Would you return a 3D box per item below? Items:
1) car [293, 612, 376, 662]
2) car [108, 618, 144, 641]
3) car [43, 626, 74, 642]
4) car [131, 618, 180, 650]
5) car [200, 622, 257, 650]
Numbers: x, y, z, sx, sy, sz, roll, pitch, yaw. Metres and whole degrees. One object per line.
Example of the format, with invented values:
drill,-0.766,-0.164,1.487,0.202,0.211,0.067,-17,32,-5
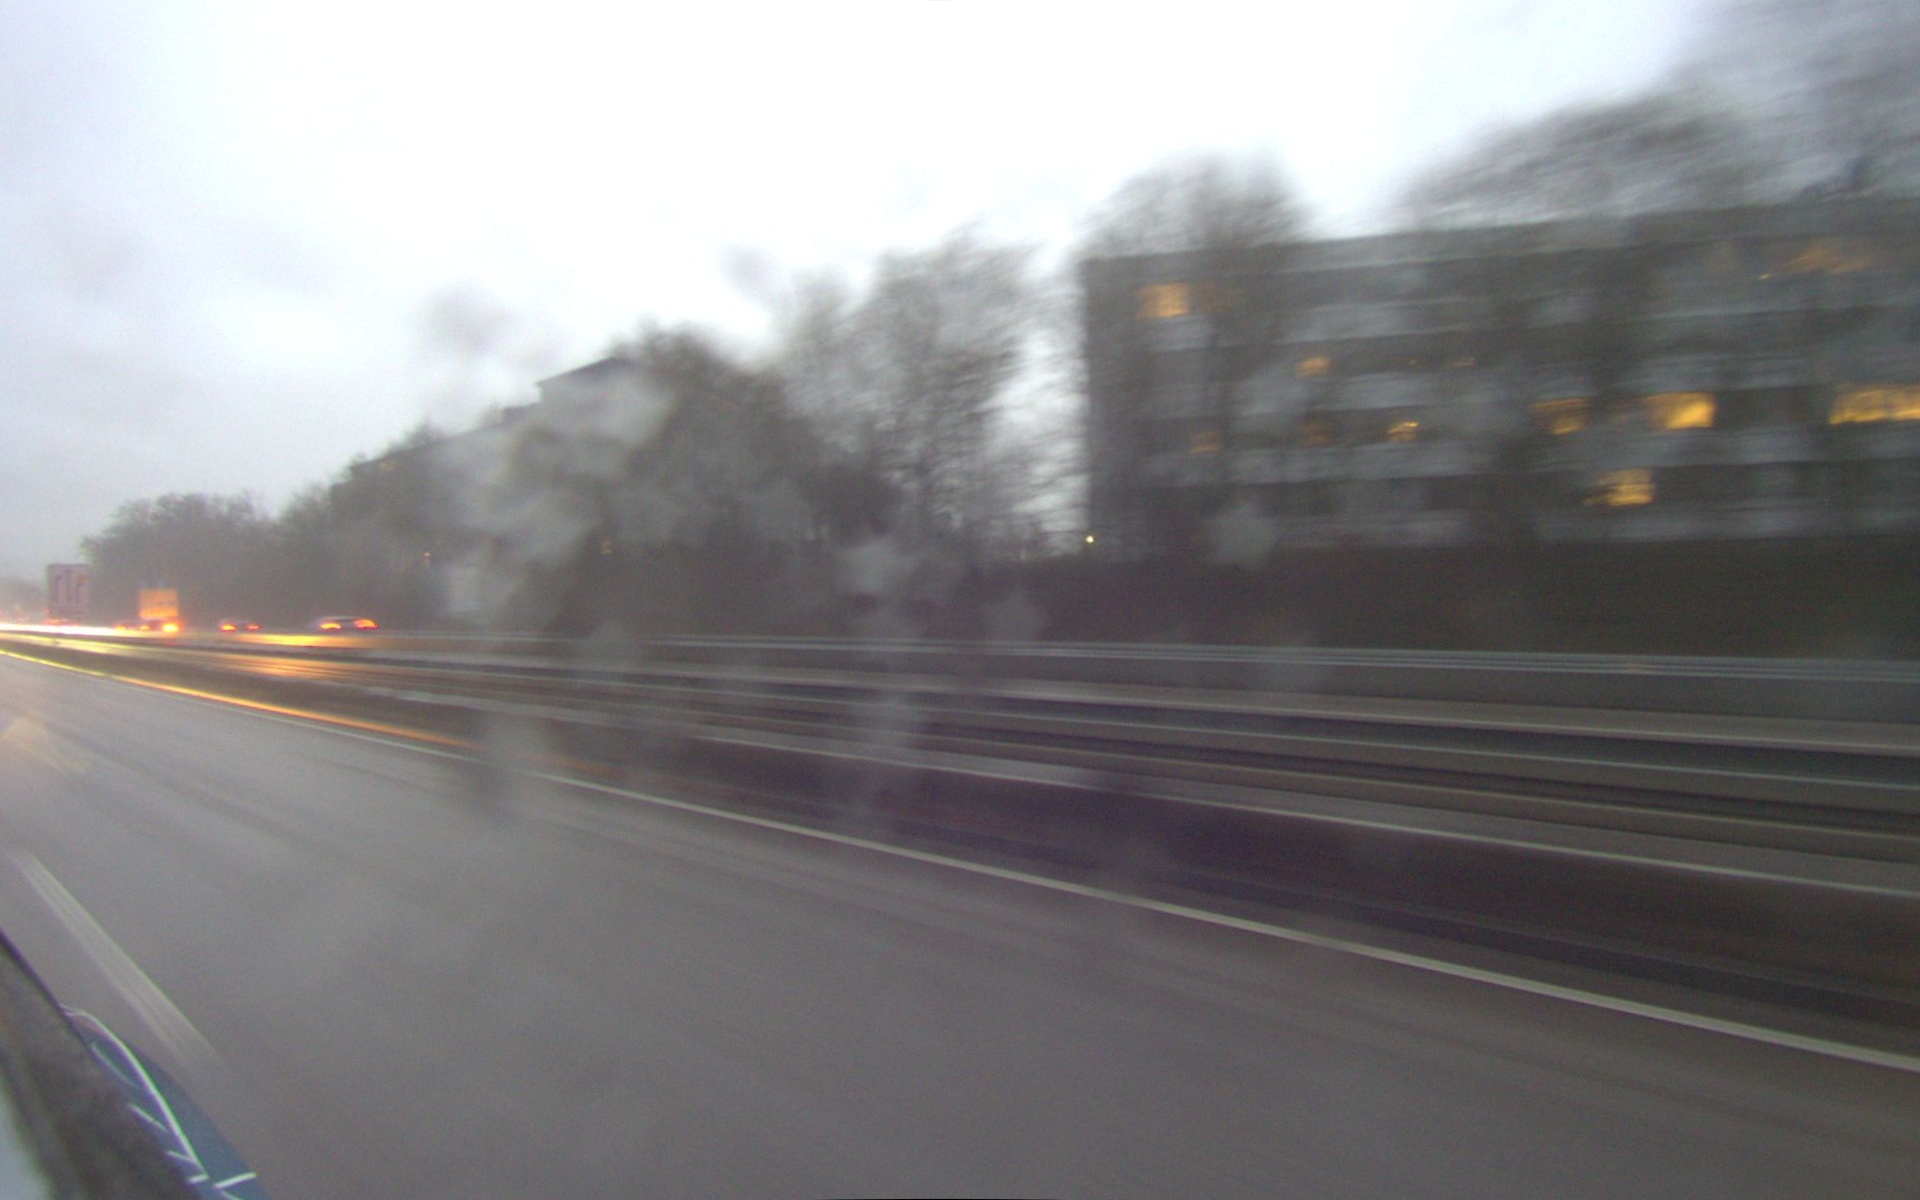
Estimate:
car,-25.197,1.463,40.707,4.206,1.799,1.627,-2,2,42
car,-70.002,2.431,84.904,1.970,1.766,4.904,-4,2,-43
car,-87.253,3.261,97.967,4.209,1.370,1.875,-2,2,44
car,-50.002,2.092,62.846,3.940,1.766,1.733,-2,2,43
car,-45.769,2.251,63.283,4.471,1.692,1.972,-2,-3,42
